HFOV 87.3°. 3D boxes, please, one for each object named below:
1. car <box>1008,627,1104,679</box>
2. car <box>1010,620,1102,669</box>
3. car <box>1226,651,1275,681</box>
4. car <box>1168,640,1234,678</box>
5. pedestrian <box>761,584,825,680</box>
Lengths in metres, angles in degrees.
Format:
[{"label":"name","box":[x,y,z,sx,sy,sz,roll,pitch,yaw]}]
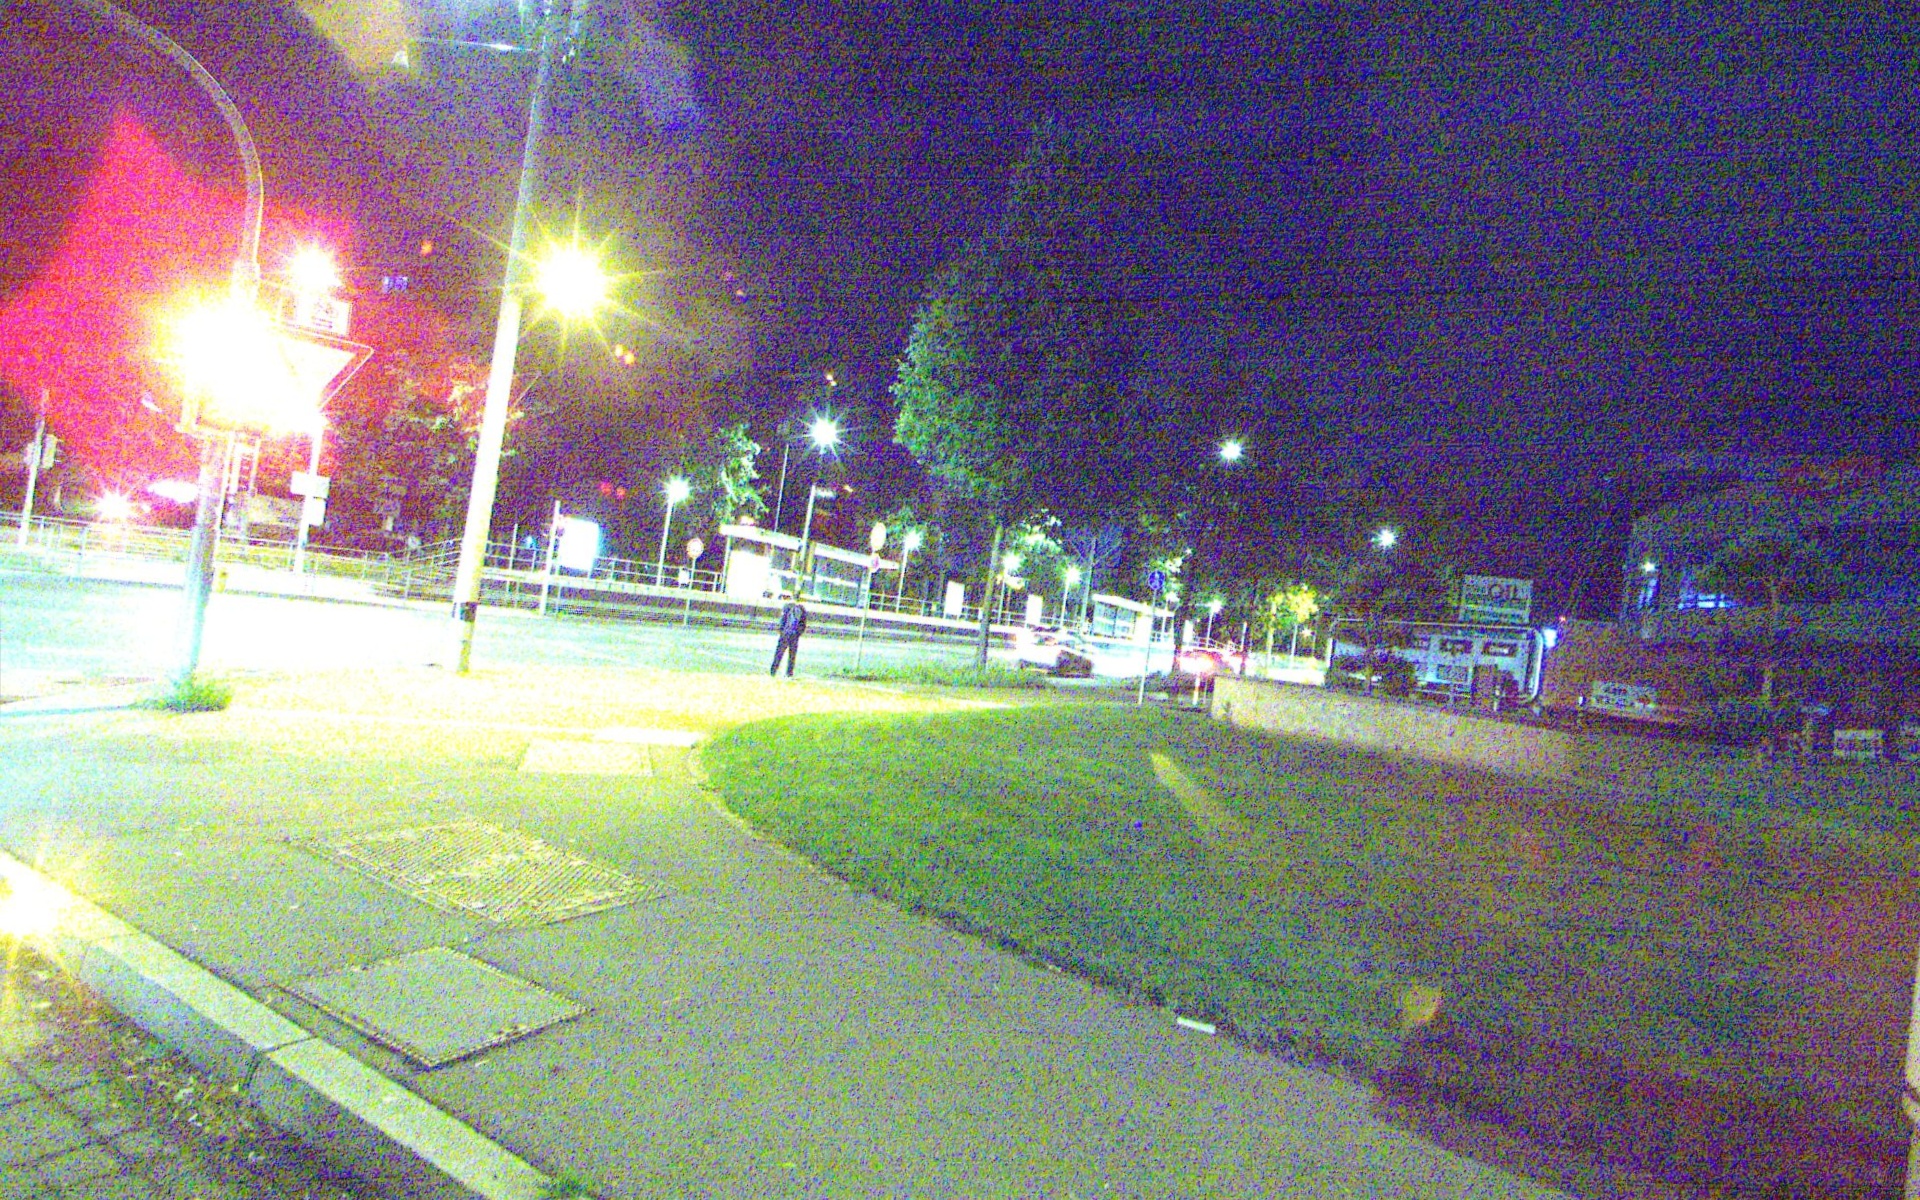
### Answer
[{"label":"car","box":[3.556,1.969,36.700,1.660,1.525,3.833,9,0,34]},{"label":"car","box":[4.171,1.934,43.195,1.784,1.584,4.514,10,0,35]},{"label":"car","box":[18.174,4.136,62.845,1.762,1.481,3.994,6,-2,33]},{"label":"car","box":[12.124,2.972,50.374,1.833,1.510,4.477,8,0,31]},{"label":"pedestrian","box":[-3.232,0.624,19.529,0.820,1.767,0.755,4,0,31]}]
